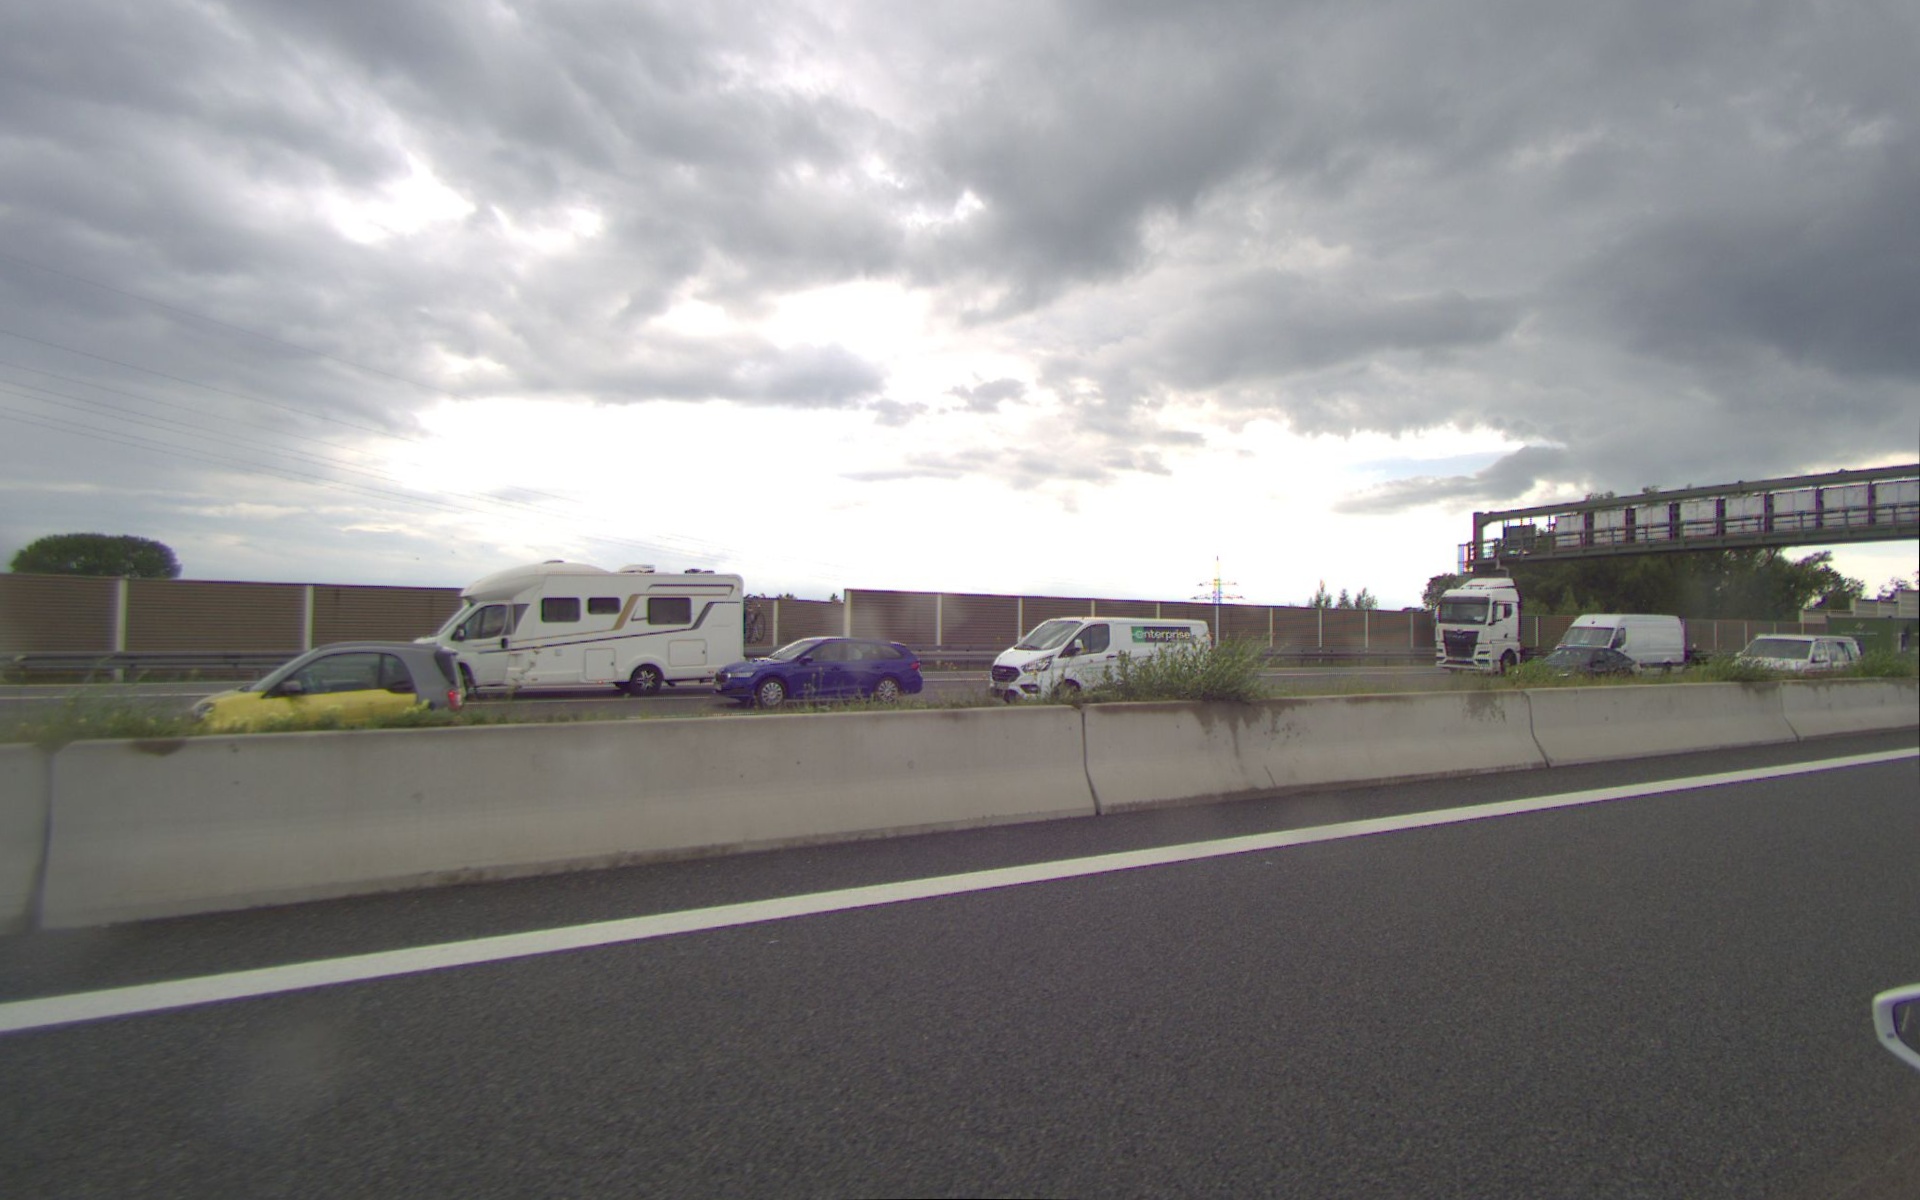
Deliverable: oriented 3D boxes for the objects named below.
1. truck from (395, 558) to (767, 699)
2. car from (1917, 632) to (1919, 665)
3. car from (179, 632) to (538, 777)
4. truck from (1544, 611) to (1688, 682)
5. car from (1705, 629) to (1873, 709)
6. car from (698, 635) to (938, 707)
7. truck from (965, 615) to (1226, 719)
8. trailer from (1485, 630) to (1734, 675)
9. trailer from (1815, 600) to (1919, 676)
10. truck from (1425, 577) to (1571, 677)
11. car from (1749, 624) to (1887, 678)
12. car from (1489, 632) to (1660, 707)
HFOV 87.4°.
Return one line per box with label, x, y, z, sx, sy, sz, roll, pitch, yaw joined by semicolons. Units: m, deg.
truck;-8.673;0.701;23.388;7.741;2.851;2.679;2;-2;-30
car;57.537;2.845;58.385;4.118;1.872;1.739;1;-2;-31
car;-6.731;1.089;11.508;3.291;1.406;1.605;1;-1;-32
truck;26.045;1.816;39.806;6.485;2.638;2.232;2;-2;-32
car;25.356;2.046;30.678;5.447;2.266;2.220;2;-2;-30
car;-3.078;1.504;22.121;4.886;1.404;1.955;2;-2;-30
truck;3.032;1.406;21.976;5.481;2.026;2.232;2;-2;-31
trailer;30.789;2.412;47.075;16.155;1.853;2.740;1;-2;-30
trailer;40.599;1.672;44.382;5.978;3.180;2.438;1;-1;-30
truck;22.743;1.148;42.427;5.978;3.939;2.740;1;-1;-30
car;35.354;2.073;41.344;6.120;2.078;2.438;1;-2;-30
car;19.230;2.126;31.392;5.475;2.142;2.233;2;-2;-30
